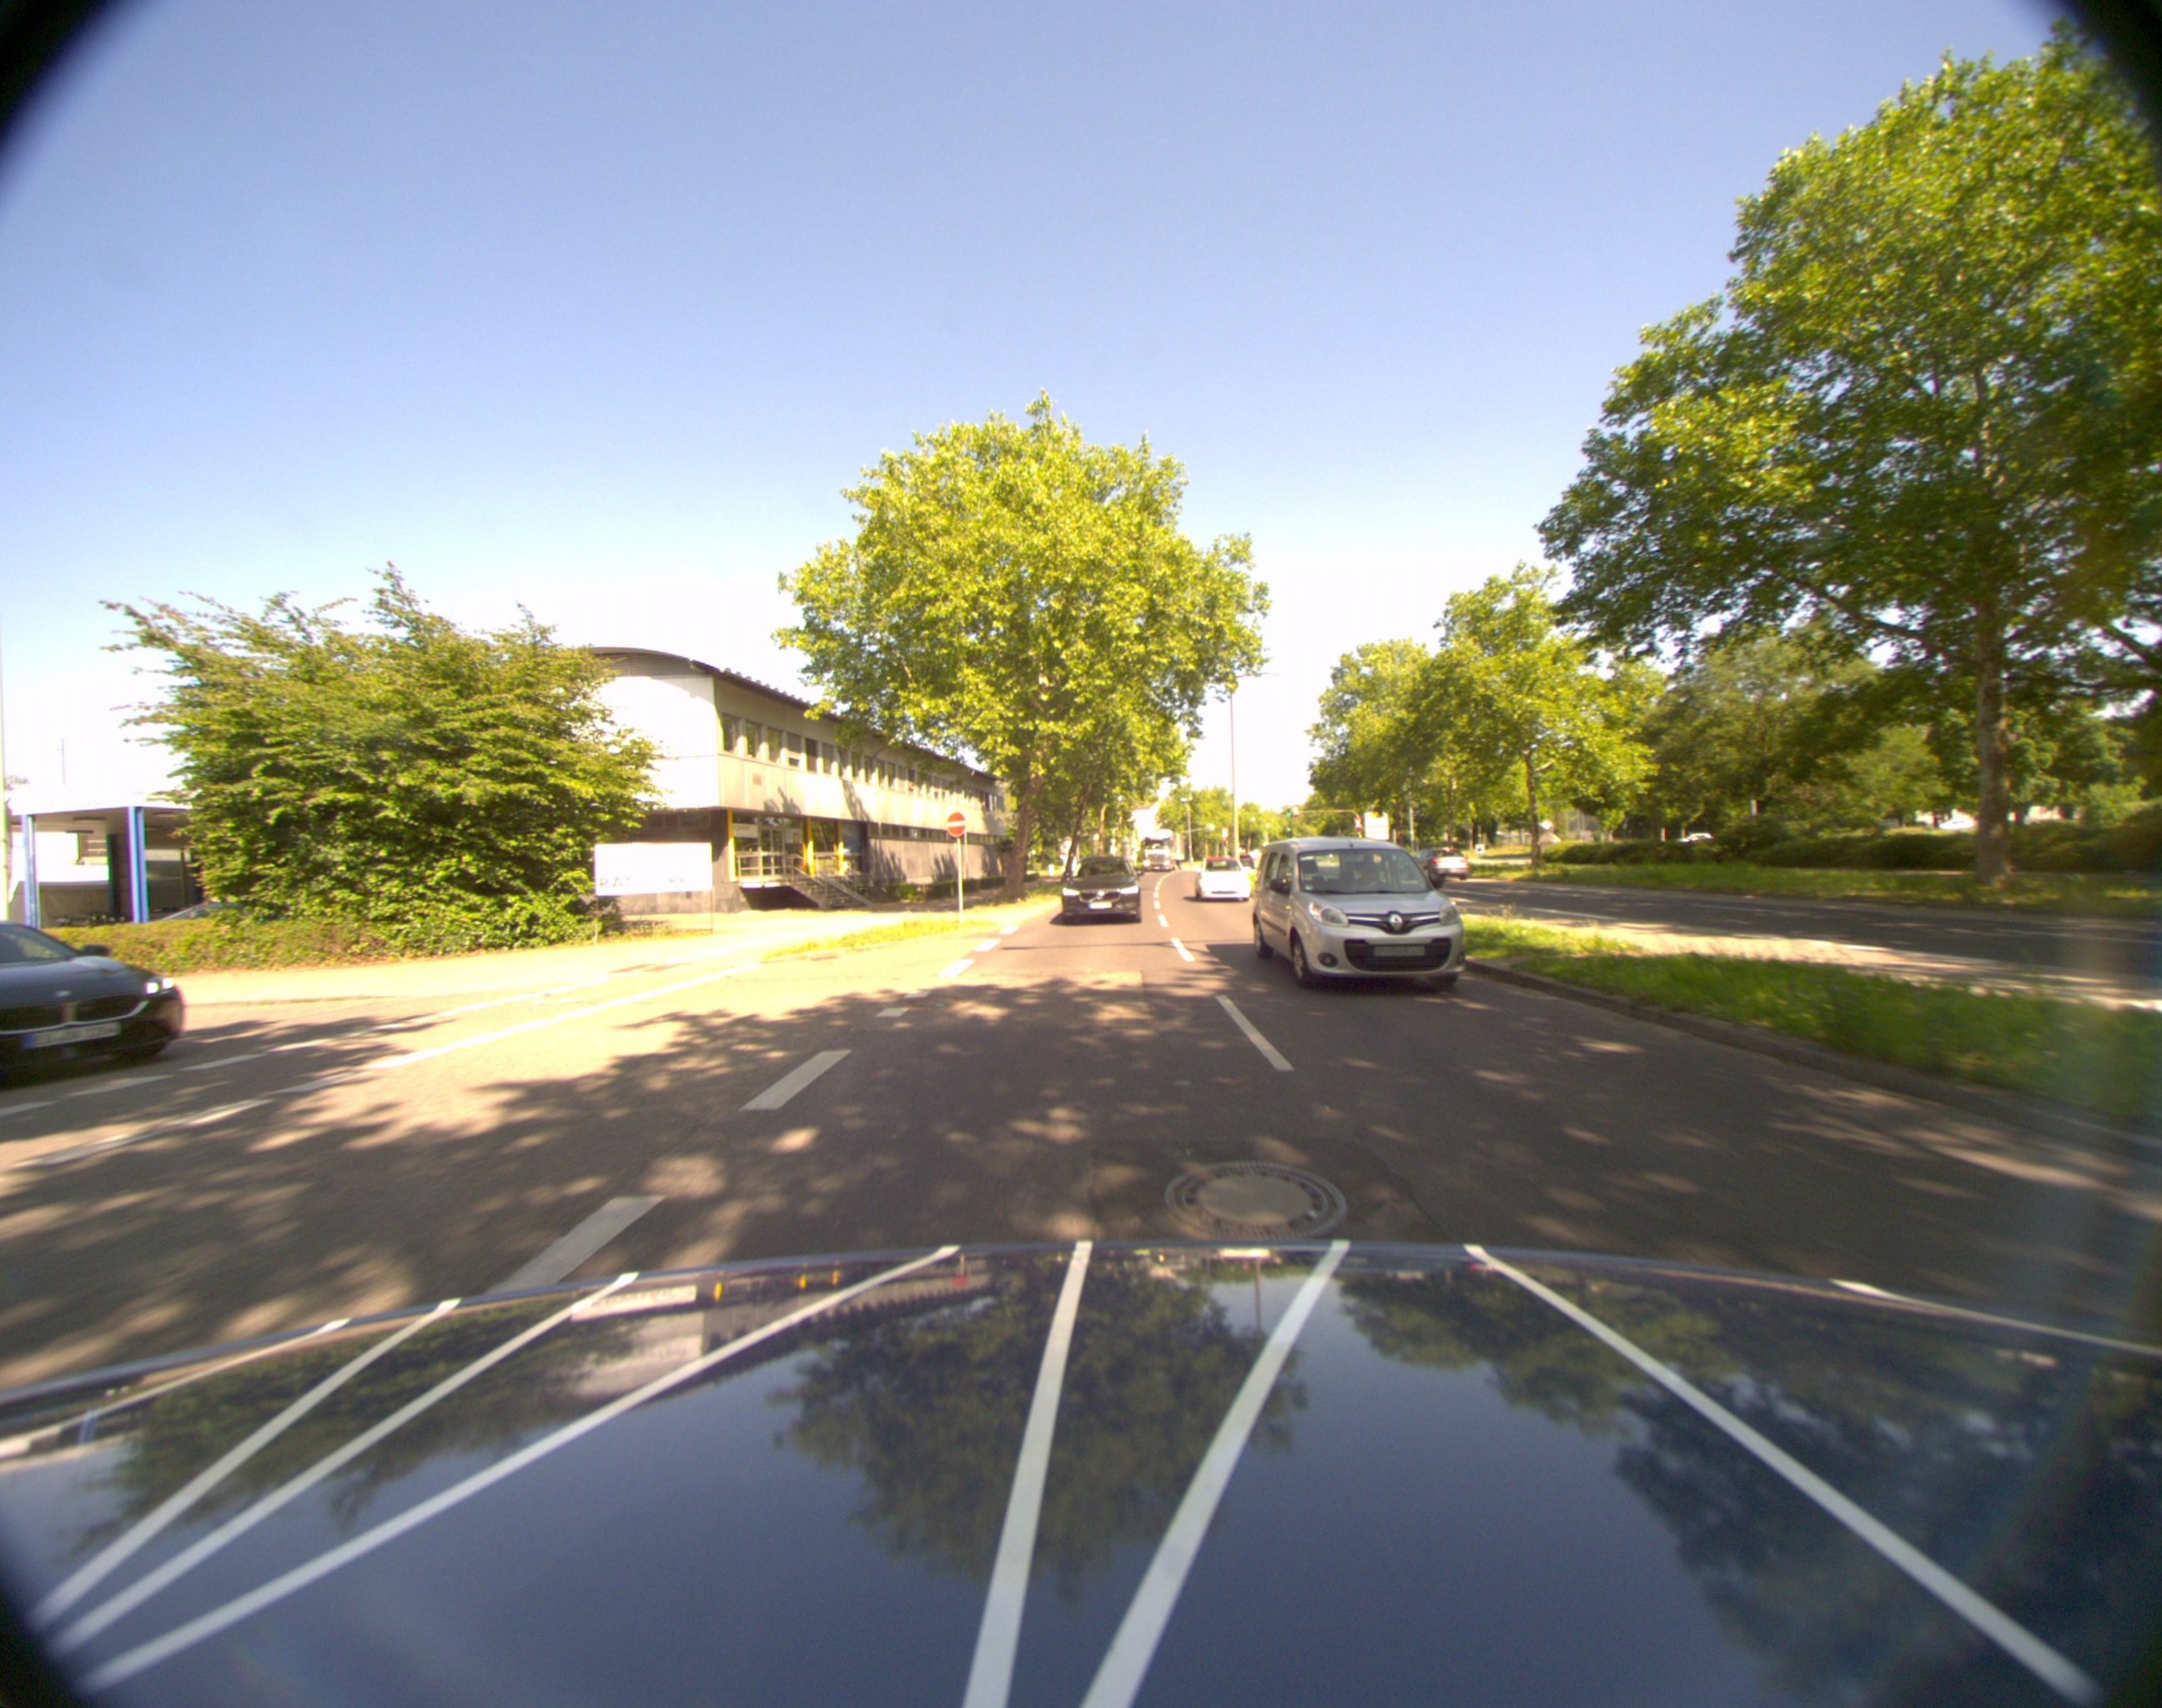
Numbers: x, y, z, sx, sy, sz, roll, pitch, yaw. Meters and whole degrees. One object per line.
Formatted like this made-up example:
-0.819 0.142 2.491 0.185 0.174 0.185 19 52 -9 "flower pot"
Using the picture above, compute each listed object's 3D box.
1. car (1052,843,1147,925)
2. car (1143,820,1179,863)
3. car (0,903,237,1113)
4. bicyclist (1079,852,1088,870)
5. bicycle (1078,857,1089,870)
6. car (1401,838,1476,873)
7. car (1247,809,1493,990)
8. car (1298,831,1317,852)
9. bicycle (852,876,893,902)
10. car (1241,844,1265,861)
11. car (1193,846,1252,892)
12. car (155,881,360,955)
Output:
0.454 0.657 18.510 1.904 1.605 4.873 -4 -1 2 "car"
7.768 -1.183 73.365 2.901 3.898 7.146 -2 0 9 "car"
-10.340 1.351 6.714 4.254 1.508 2.002 -3 0 14 "car"
0.235 0.689 75.308 0.701 1.776 0.811 -3 1 9 "bicyclist"
0.271 0.958 75.466 0.692 1.178 2.126 -3 0 9 "bicycle"
17.070 0.045 36.510 1.798 1.547 4.397 -2 1 5 "car"
3.422 0.480 9.954 1.876 1.829 4.377 0 0 5 "car"
29.821 -1.703 99.819 2.063 2.598 7.226 -1 1 19 "car"
-9.178 1.541 33.444 1.672 1.124 0.509 -1 1 18 "bicycle"
16.453 -0.161 72.546 1.696 1.499 4.135 -2 0 21 "car"
4.912 0.488 26.820 1.688 1.482 4.377 0 0 6 "car"
-23.123 1.720 21.464 1.676 1.652 3.755 -2 1 40 "car"
